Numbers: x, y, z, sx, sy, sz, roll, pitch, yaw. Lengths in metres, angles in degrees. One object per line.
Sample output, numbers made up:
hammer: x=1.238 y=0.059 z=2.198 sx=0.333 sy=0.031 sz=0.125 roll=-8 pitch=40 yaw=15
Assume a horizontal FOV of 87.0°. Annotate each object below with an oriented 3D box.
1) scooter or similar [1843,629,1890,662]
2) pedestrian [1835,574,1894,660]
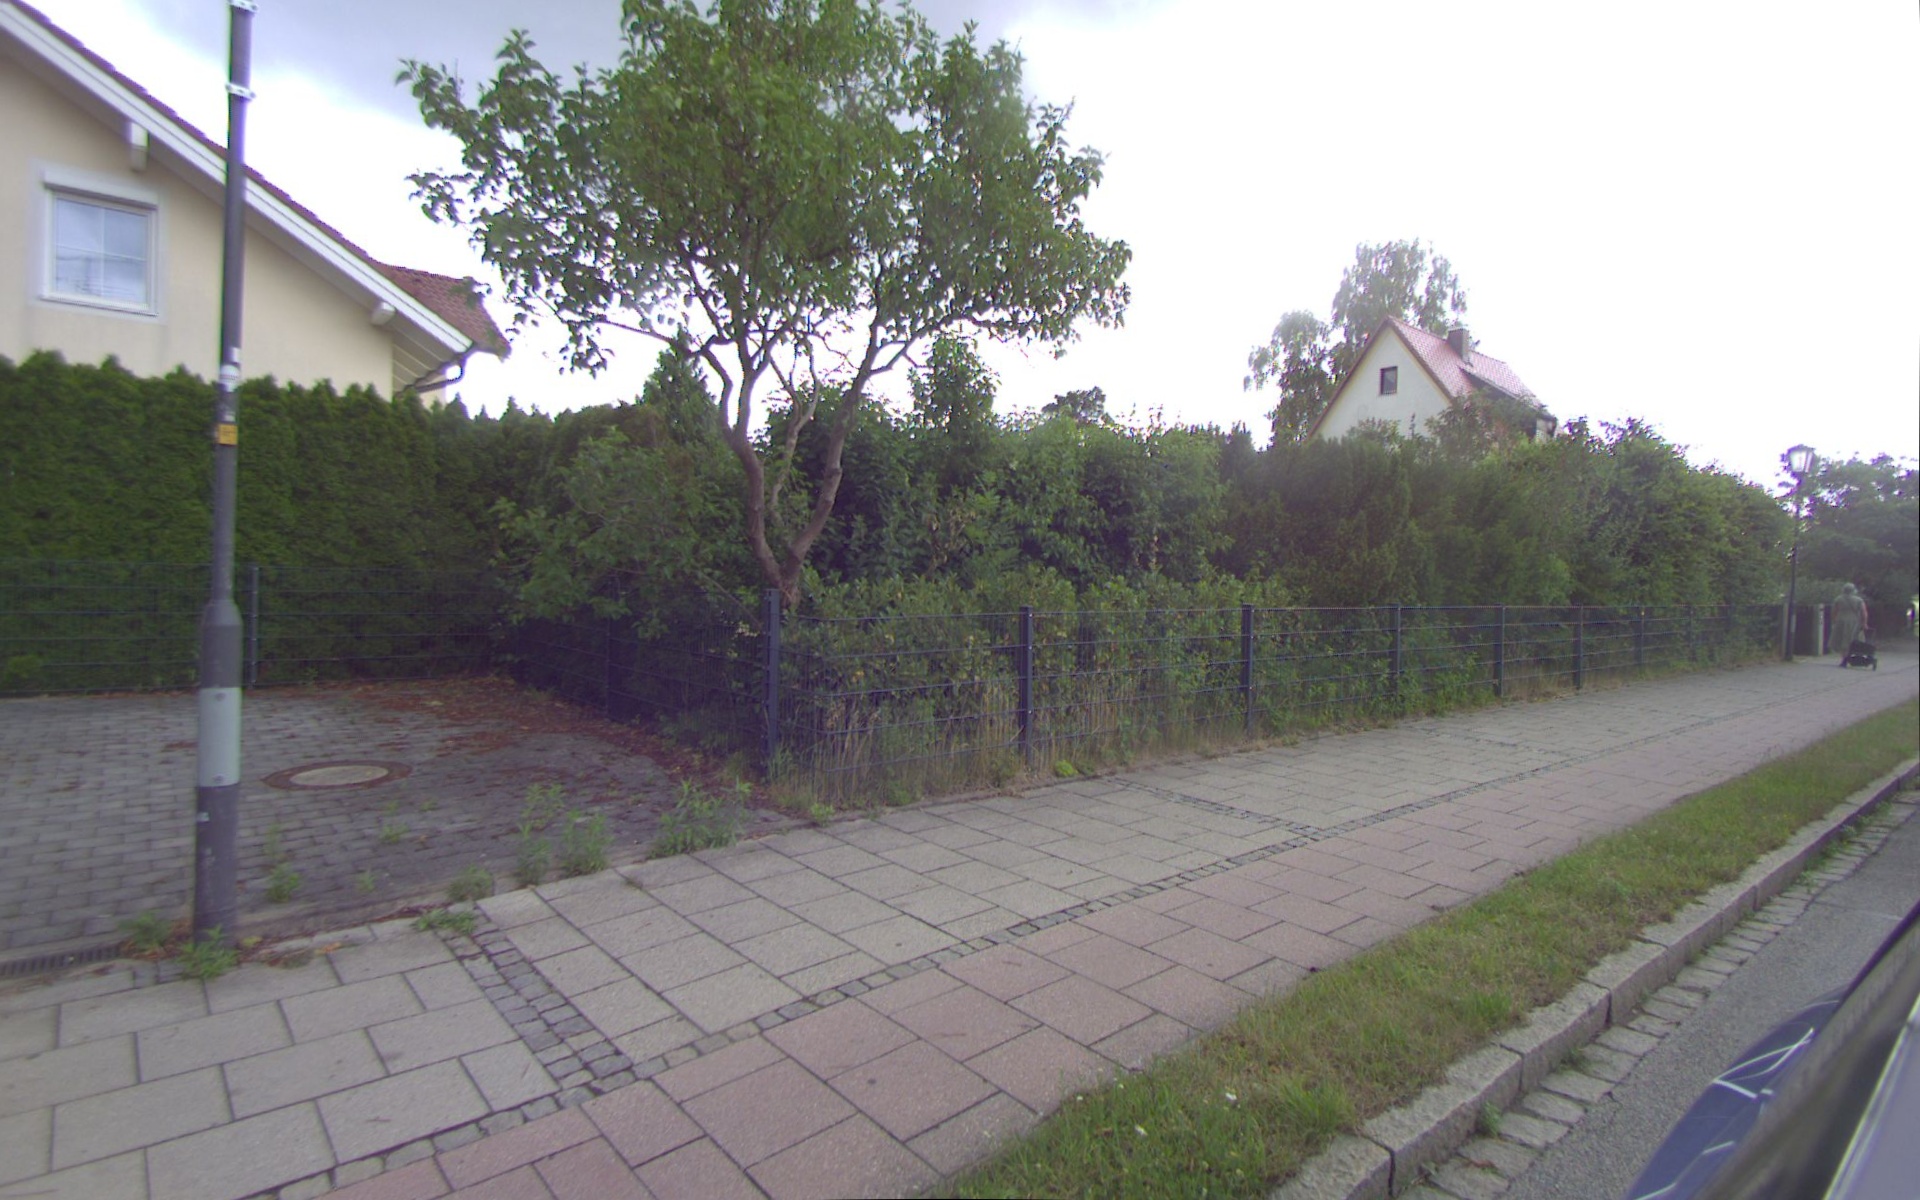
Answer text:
scooter or similar: x=17.103 y=0.855 z=19.091 sx=0.617 sy=0.563 sz=0.730 roll=2 pitch=2 yaw=44
pedestrian: x=17.565 y=0.308 z=19.658 sx=0.660 sy=1.622 sz=0.791 roll=0 pitch=1 yaw=-43
